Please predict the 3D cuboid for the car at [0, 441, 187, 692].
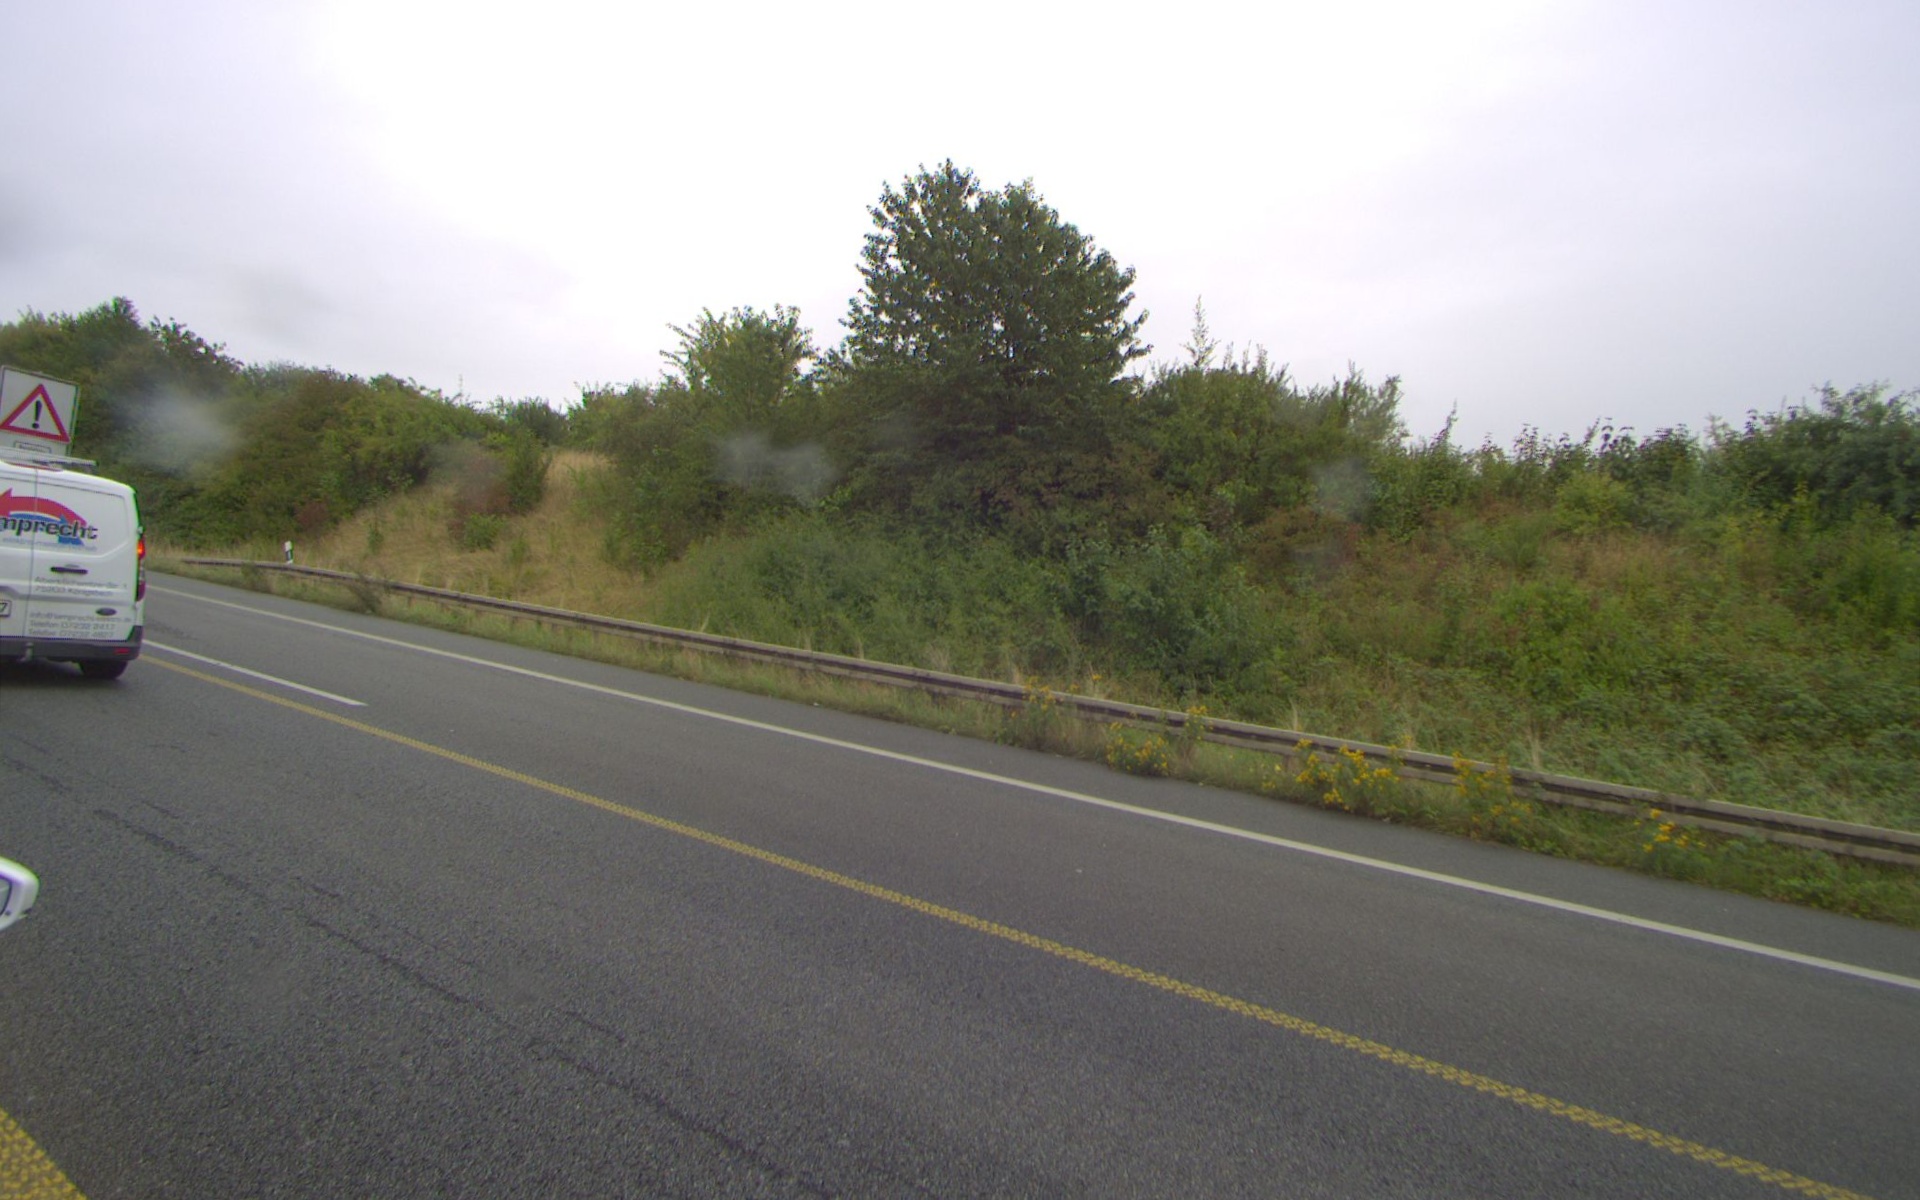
[{"bbox_3d":[-9.019,-0.463,8.893,4.578,1.861,1.832,7,-1,32],"label":"car"}]
